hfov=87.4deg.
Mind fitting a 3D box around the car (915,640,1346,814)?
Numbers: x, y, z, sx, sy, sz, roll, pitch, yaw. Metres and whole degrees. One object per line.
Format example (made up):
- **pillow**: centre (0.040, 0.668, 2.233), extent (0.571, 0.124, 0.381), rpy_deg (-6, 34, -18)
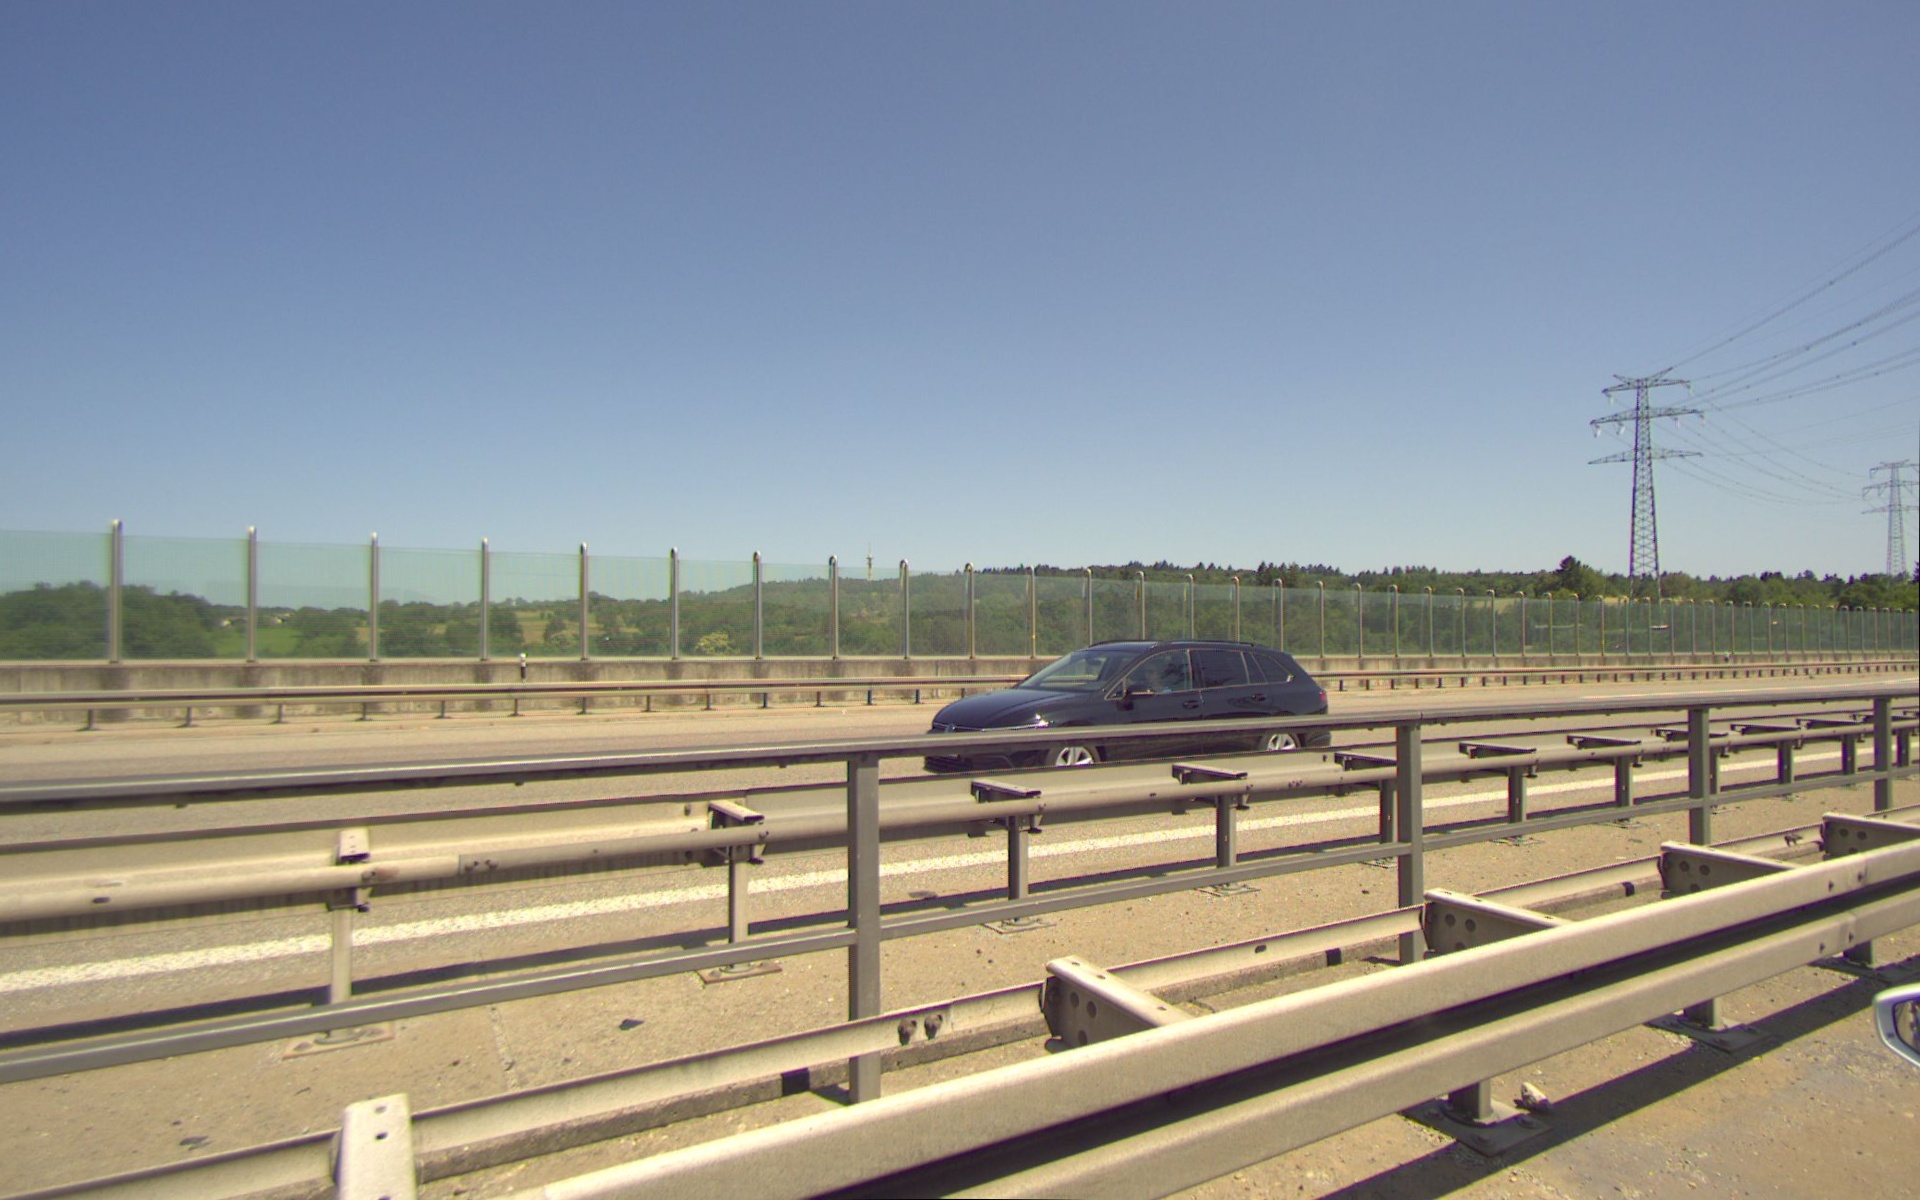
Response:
- **car**: centre (1.802, 1.137, 10.229), extent (4.216, 1.438, 1.759), rpy_deg (2, -2, -30)
